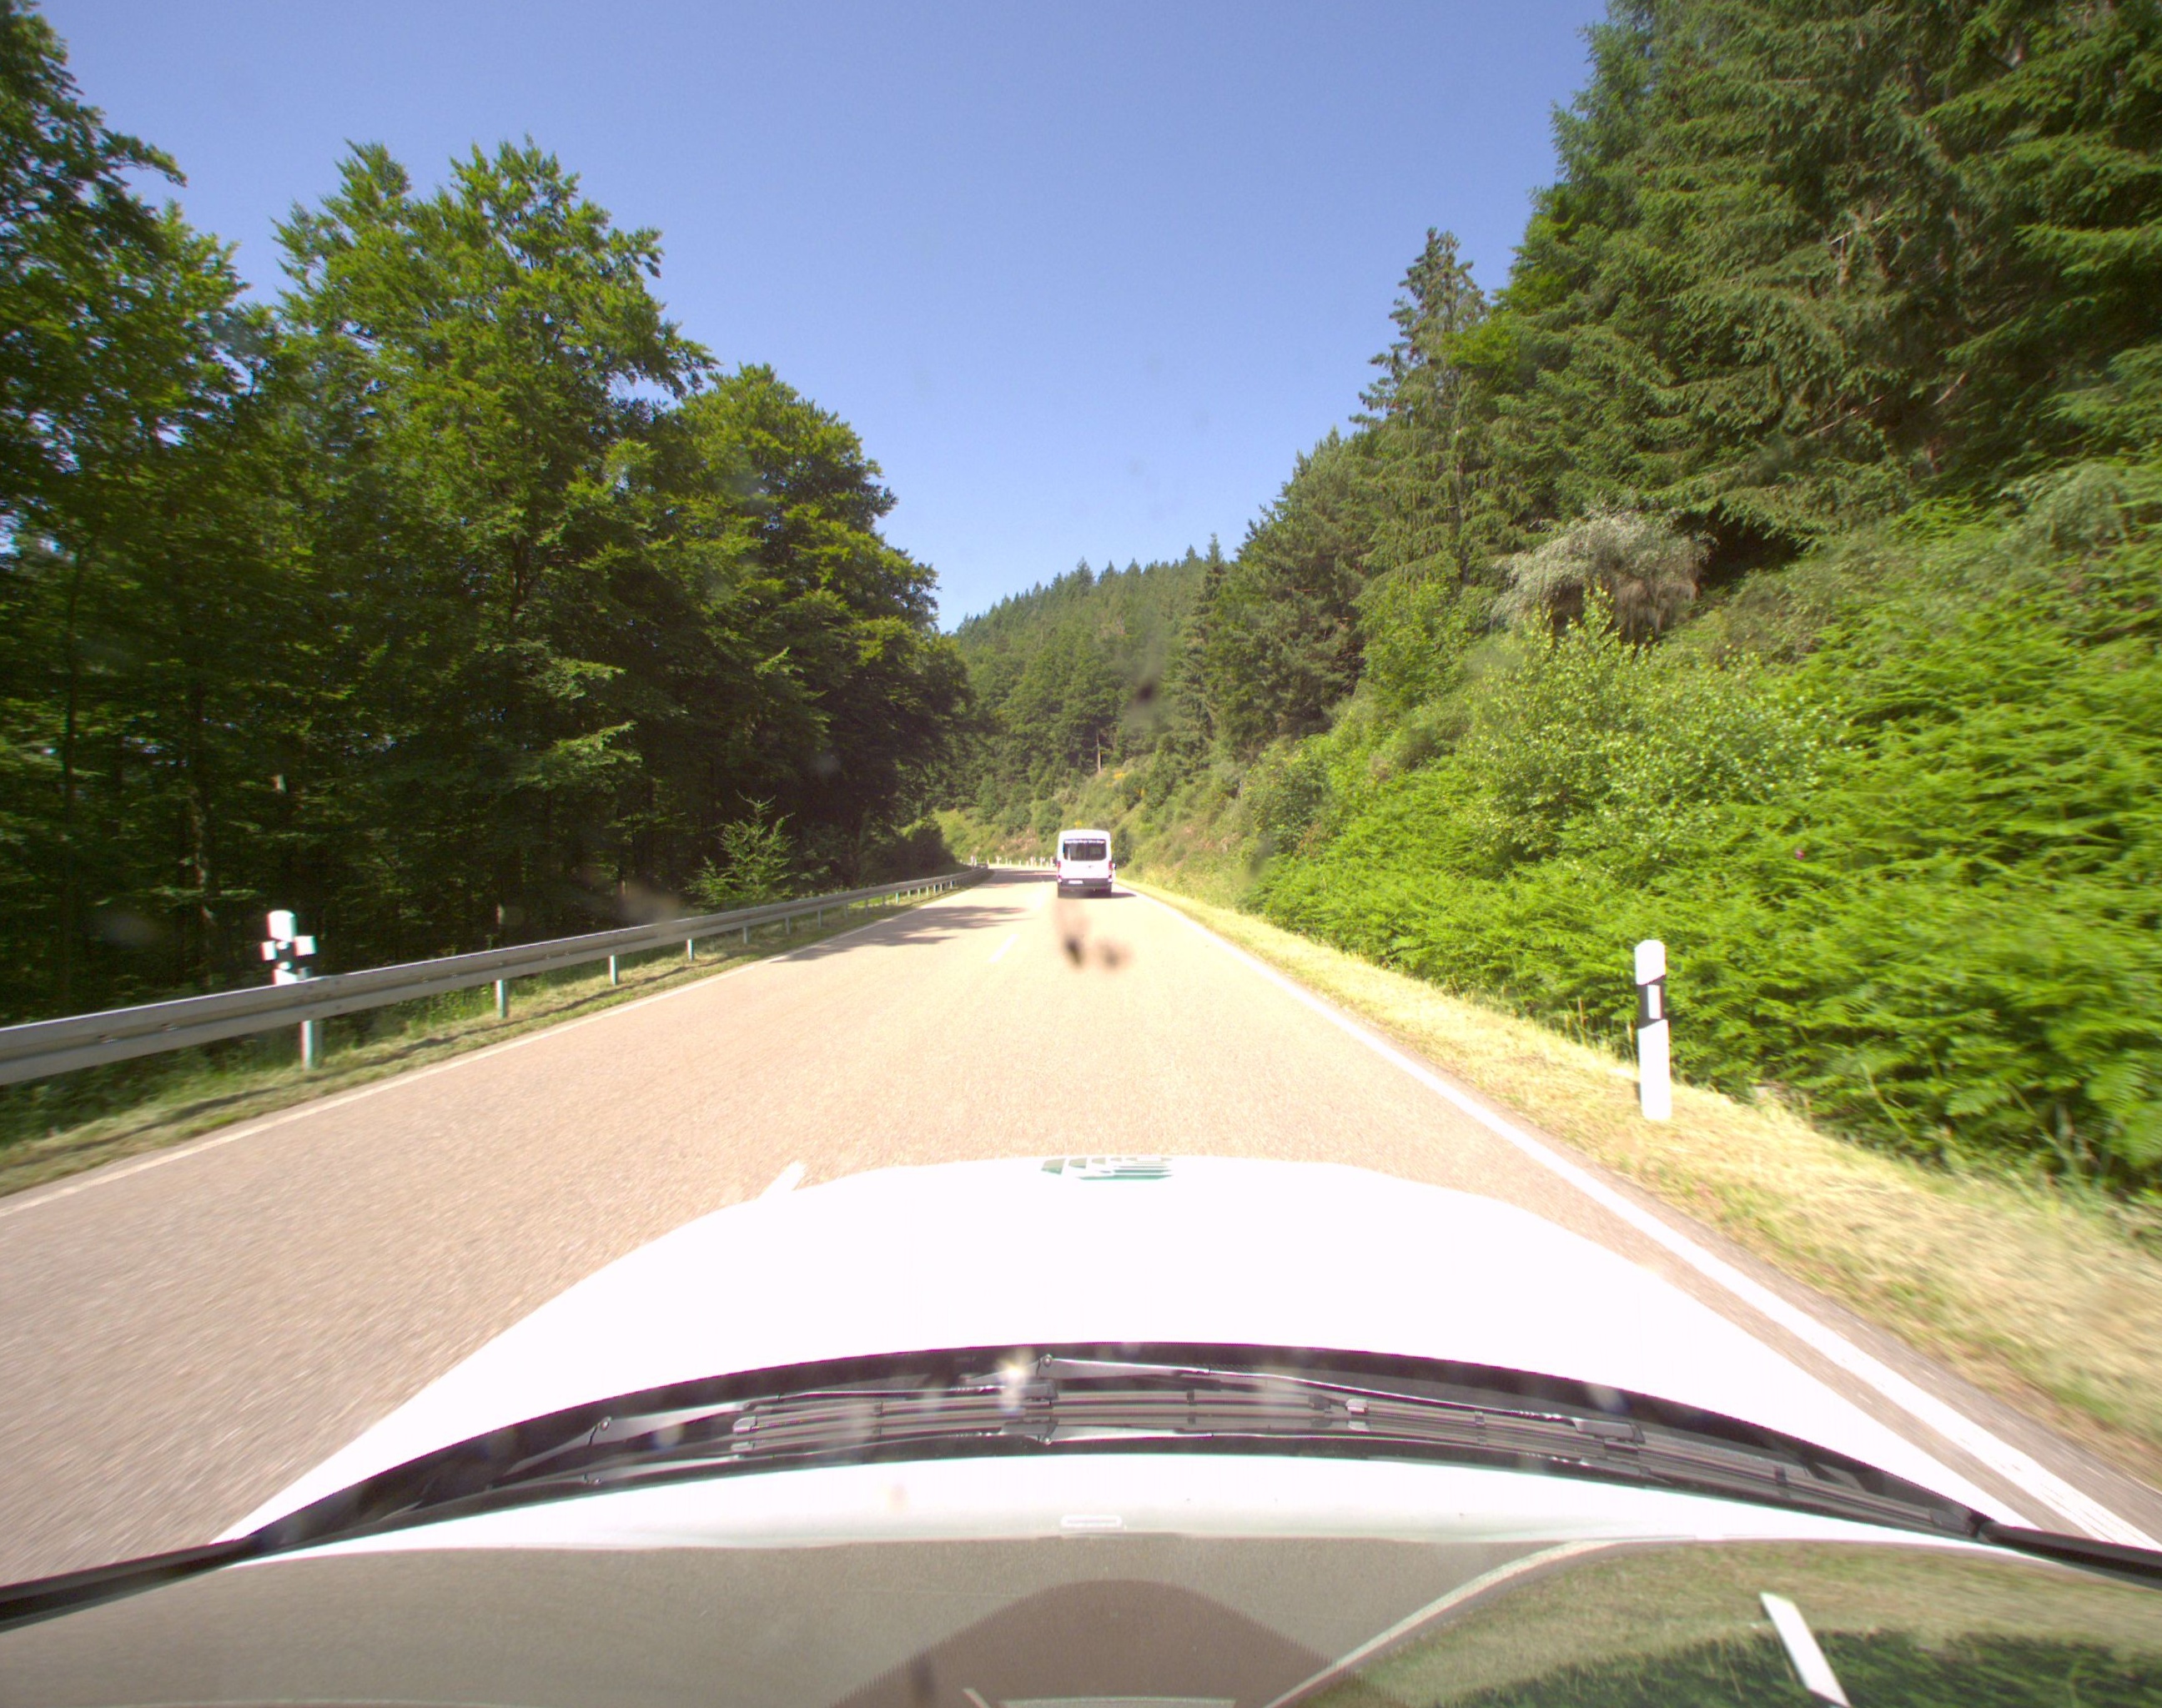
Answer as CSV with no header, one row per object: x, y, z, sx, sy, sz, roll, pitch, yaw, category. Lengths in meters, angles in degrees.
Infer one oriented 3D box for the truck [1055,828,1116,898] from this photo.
0.091,0.333,31.279,2.078,2.460,4.870,-1,-1,-3,truck
